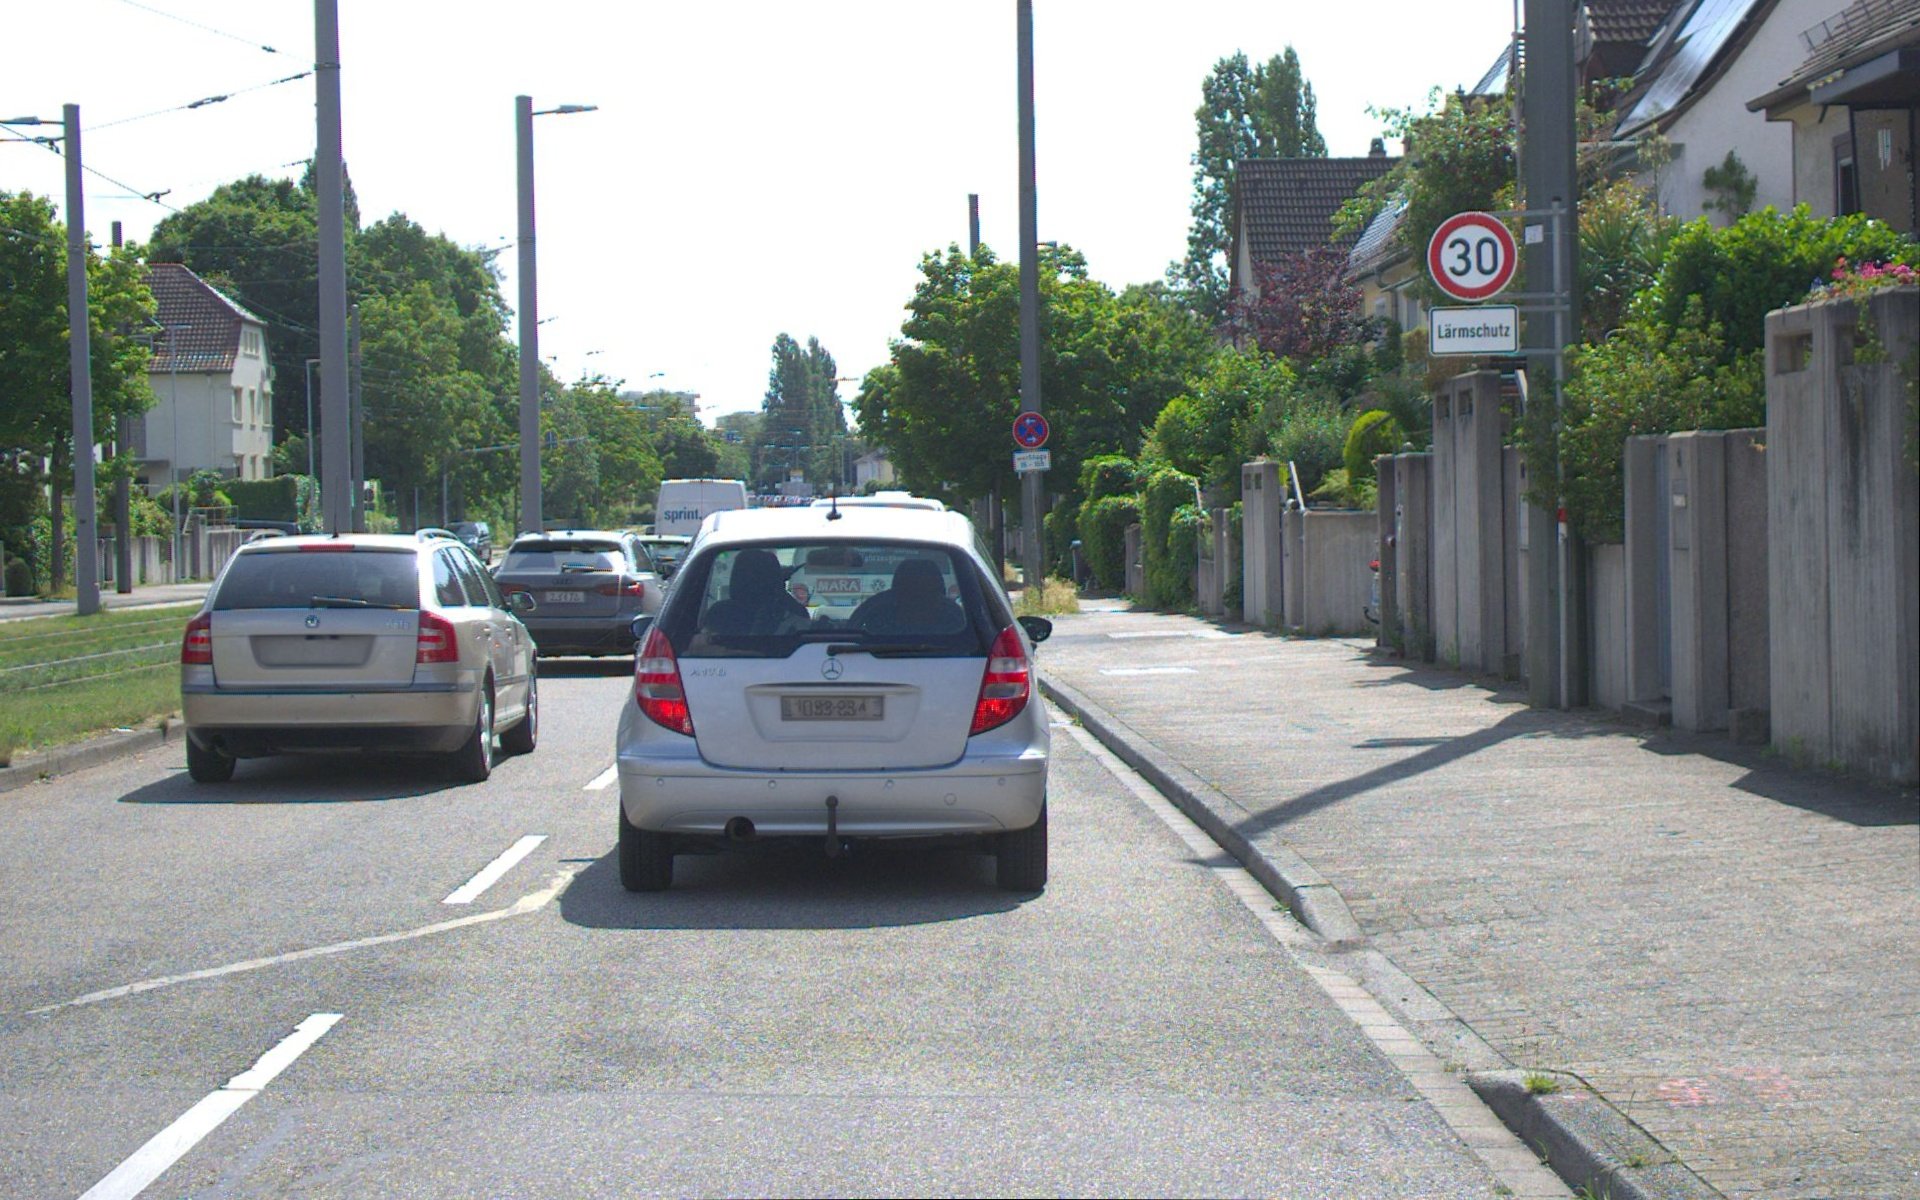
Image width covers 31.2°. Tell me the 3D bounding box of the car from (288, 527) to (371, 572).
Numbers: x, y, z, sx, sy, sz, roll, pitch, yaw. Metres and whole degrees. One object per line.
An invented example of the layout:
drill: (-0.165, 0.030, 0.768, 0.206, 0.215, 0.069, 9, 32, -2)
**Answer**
car: (-21.375, -1.738, 116.736, 1.916, 1.472, 4.562, 1, 1, 1)

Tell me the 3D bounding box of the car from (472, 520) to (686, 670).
car: (-4.022, -0.102, 36.926, 1.916, 1.472, 4.563, 1, 1, -2)

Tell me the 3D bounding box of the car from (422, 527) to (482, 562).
car: (-22.428, -2.470, 151.975, 1.916, 1.472, 4.562, 1, 1, 1)

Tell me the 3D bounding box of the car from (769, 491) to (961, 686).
car: (-0.909, -0.149, 33.227, 1.730, 1.756, 4.017, 1, 1, -1)

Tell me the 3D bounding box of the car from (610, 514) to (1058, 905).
car: (-0.574, 0.386, 15.404, 1.730, 1.511, 4.017, 1, 1, -2)

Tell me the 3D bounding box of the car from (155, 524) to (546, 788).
car: (-3.619, 0.265, 21.077, 1.731, 1.444, 4.123, 1, 1, -1)

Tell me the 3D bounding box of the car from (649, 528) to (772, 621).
car: (-3.913, -0.430, 54.498, 1.852, 1.383, 4.515, 1, 1, -3)

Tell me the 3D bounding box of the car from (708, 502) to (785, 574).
car: (-6.298, -1.854, 101.755, 1.916, 2.070, 4.562, 1, 1, 1)

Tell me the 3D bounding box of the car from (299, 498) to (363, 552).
car: (-27.437, -3.292, 150.062, 1.916, 2.322, 4.562, 1, 1, 1)

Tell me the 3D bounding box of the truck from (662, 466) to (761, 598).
truck: (-4.973, -1.375, 69.381, 1.852, 2.543, 5.856, 1, 1, -3)

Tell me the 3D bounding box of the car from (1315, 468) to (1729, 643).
car: (6.014, -0.493, 37.100, 3.986, 1.678, 2.000, -2, 1, -4)
